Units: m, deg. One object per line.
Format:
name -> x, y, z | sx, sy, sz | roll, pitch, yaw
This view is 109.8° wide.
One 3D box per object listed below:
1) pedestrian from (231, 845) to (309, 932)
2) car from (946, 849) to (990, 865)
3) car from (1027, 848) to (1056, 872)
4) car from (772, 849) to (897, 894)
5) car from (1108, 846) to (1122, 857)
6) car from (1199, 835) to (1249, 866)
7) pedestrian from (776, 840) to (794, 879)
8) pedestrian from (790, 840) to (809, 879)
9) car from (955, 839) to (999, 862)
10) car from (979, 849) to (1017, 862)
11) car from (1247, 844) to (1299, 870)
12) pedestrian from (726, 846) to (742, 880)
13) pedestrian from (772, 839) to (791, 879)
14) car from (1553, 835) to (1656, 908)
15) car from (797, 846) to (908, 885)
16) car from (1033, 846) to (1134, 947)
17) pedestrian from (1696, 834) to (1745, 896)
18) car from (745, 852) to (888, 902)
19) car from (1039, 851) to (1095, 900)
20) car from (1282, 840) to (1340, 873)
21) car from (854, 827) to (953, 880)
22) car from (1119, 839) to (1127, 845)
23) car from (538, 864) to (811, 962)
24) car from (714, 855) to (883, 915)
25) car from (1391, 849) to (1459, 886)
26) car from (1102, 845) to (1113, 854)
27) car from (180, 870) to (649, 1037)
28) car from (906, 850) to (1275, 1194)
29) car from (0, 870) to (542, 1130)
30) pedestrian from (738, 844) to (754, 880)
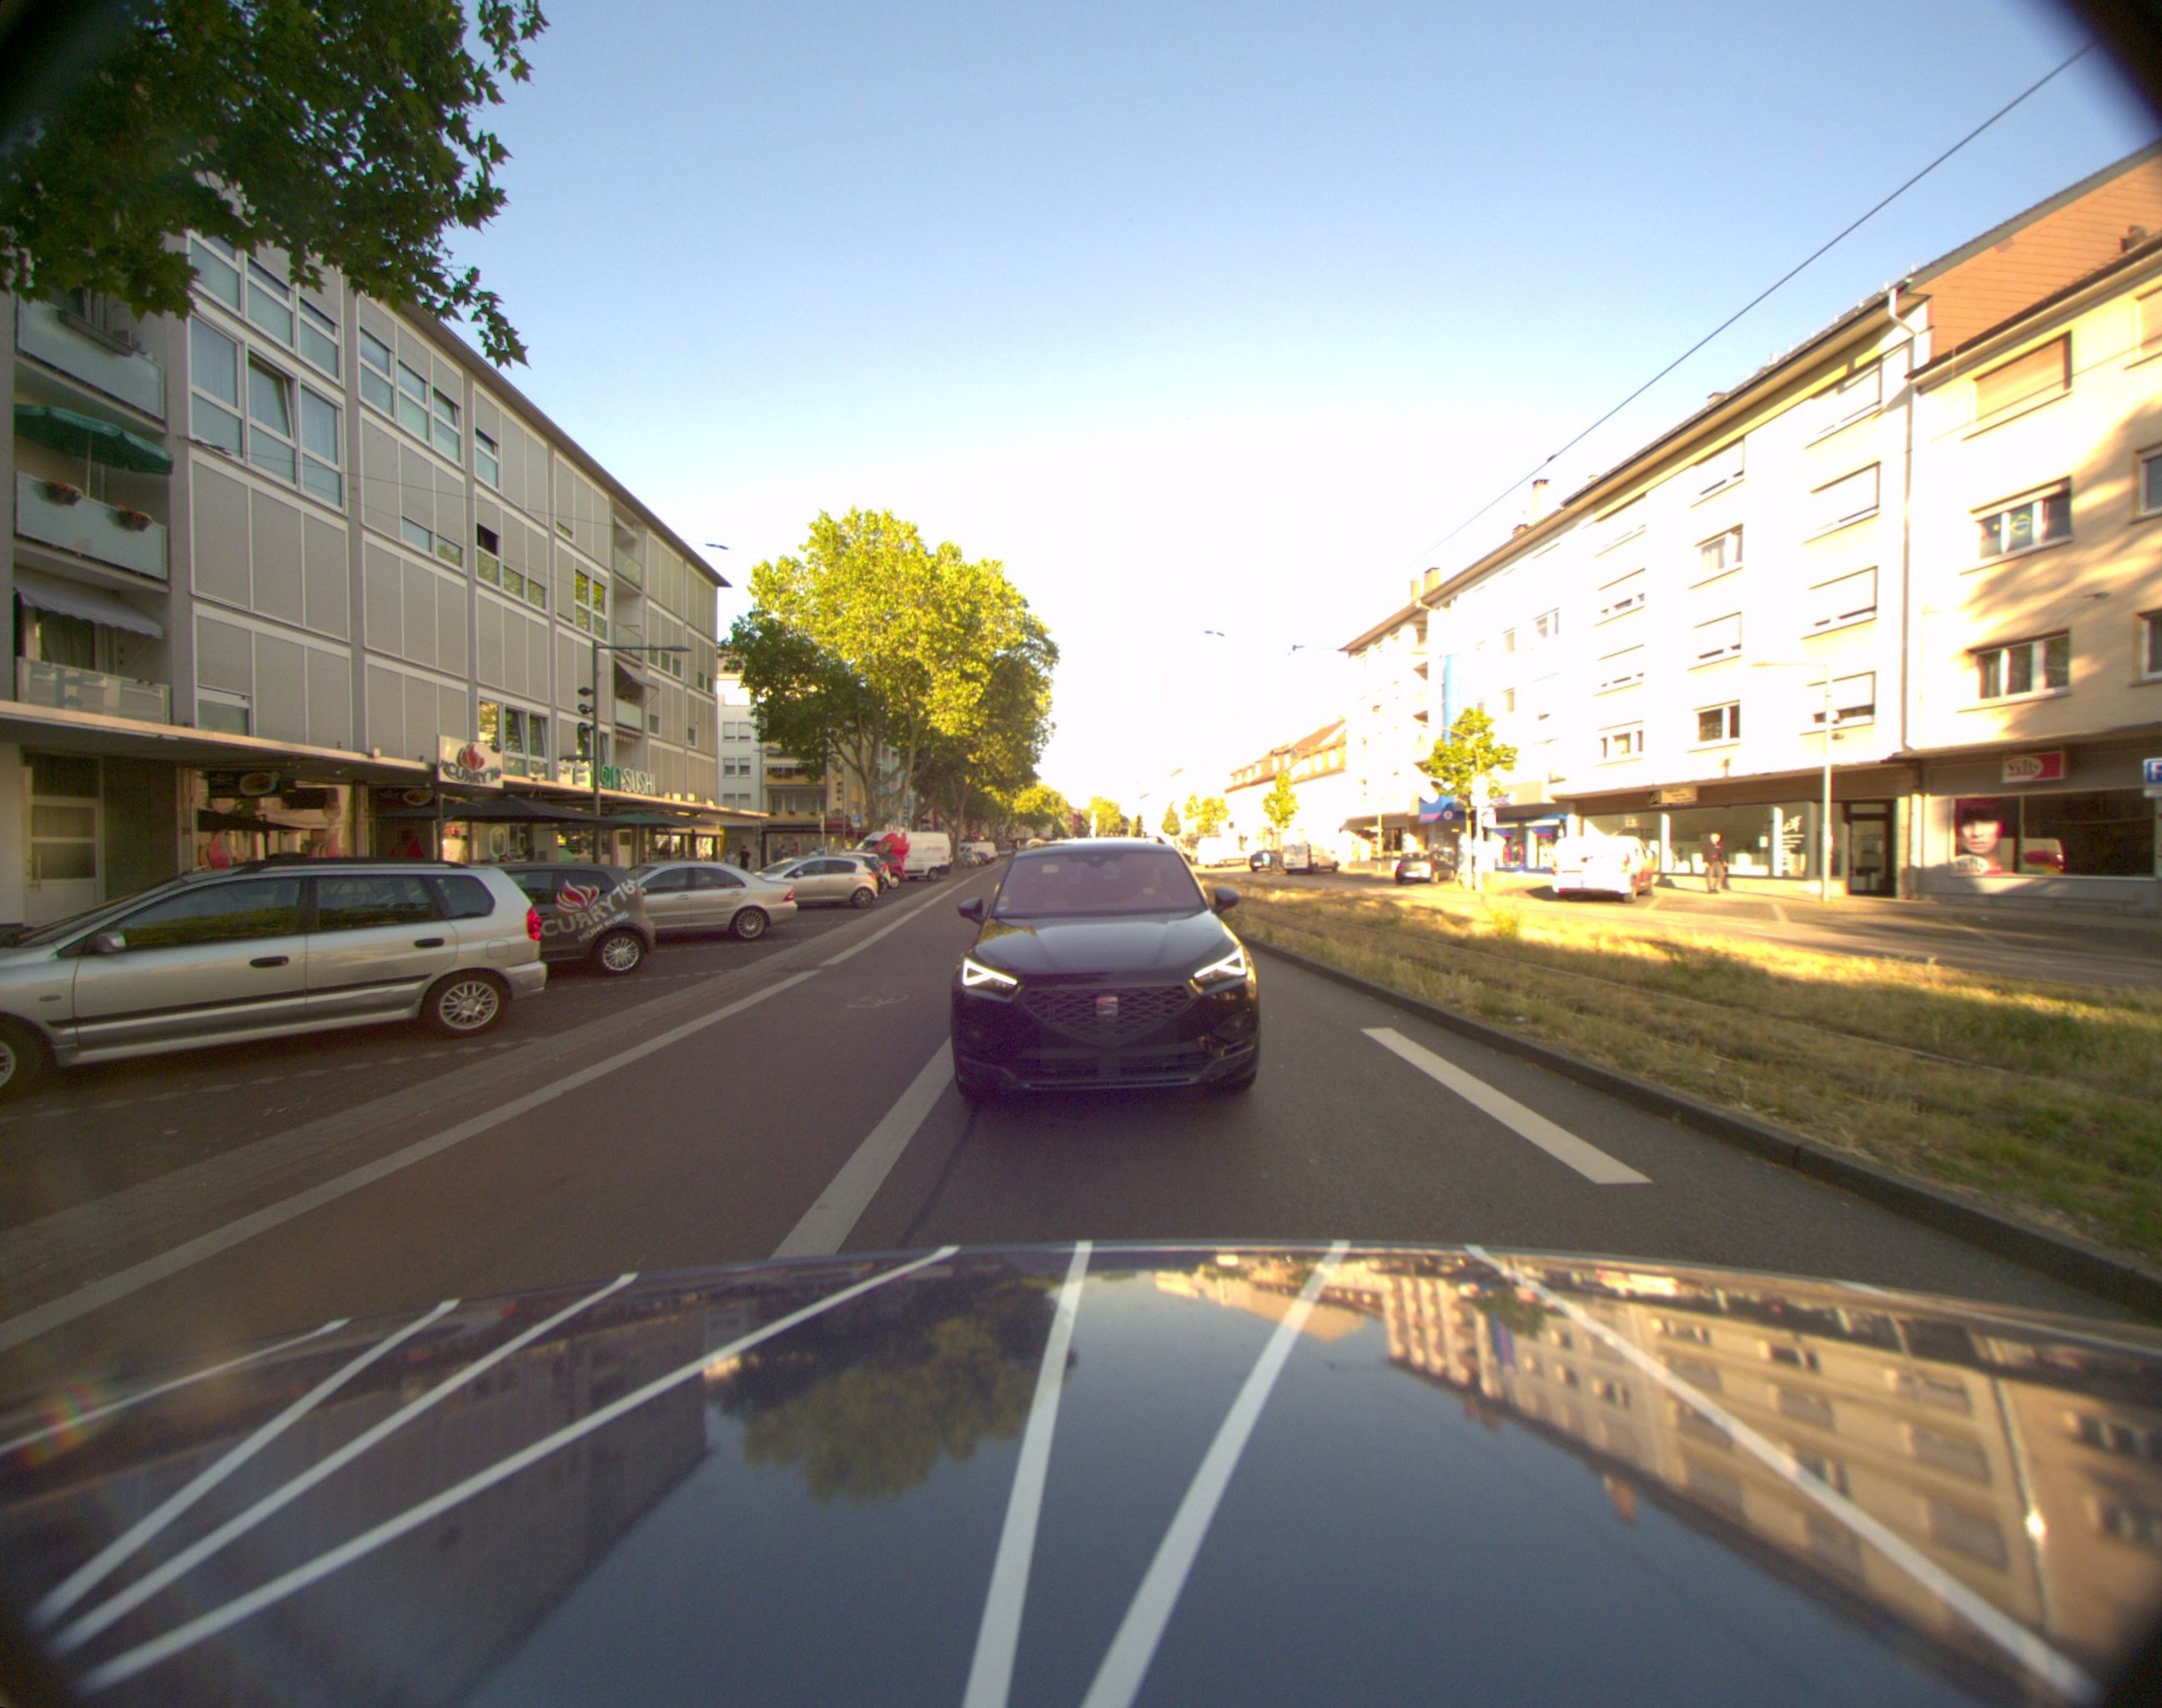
pedestrian -> -15.096, 0.626, 14.159 | 0.583, 1.573, 0.771 | 0, 1, 2
car -> -10.785, 0.277, 72.808 | 1.778, 1.396, 3.943 | 1, 1, 44
car -> -2.631, 0.375, 51.331 | 1.729, 1.443, 4.227 | -2, 1, -1
car -> -8.822, 0.638, 27.271 | 3.948, 1.421, 1.672 | 2, 2, -32
car -> 5.096, -0.348, 114.730 | 1.846, 1.571, 4.449 | 0, 1, -2
car -> 12.948, -0.362, 68.568 | 1.922, 2.599, 6.601 | -1, 1, 34
pedestrian -> -15.273, 0.275, 39.223 | 0.748, 1.964, 0.575 | 0, 1, -4
pedestrian -> -14.491, 0.269, 39.131 | 0.748, 2.002, 0.764 | 0, 1, -4
car -> -11.628, -0.417, 84.983 | 1.973, 2.454, 4.605 | 1, 1, 44
car -> -9.034, 0.160, 82.736 | 1.778, 1.326, 3.943 | 1, 1, 44
car -> 13.822, 0.189, 54.689 | 3.922, 1.704, 1.853 | -2, 1, -45
pedestrian -> -16.418, 0.417, 35.974 | 0.537, 1.630, 0.478 | 0, 1, -4
pedestrian -> -14.842, 0.242, 37.681 | 0.748, 2.002, 0.559 | 0, 1, -4
car -> 15.622, 0.449, 22.581 | 1.853, 1.888, 4.007 | -1, 2, 44
car -> -9.174, 0.486, 30.548 | 3.948, 1.421, 1.672 | 1, 2, -32
car -> 0.022, 0.700, 14.903 | 1.646, 1.646, 3.999 | -2, 1, -1
pedestrian -> 19.384, 0.329, 23.049 | 0.757, 1.817, 0.917 | -1, 1, 5
car -> -8.355, 0.720, 24.111 | 3.949, 1.420, 1.672 | 1, 1, -34
car -> -0.463, 0.668, 26.188 | 1.729, 1.467, 3.999 | -2, 1, -1
car -> 14.553, 0.109, 47.839 | 1.853, 1.927, 4.513 | -1, 1, 40
car -> -8.776, 0.004, 37.821 | 4.606, 2.479, 1.672 | 0, 0, -44
car -> 13.168, -3.721, 238.700 | 2.497, 1.871, 5.275 | 0, 1, 4
car -> -7.034, 0.919, 13.468 | 1.592, 1.393, 3.950 | 2, 1, 41
car -> -7.537, 0.785, 20.510 | 3.950, 1.420, 1.555 | 1, 1, -45
car -> 15.433, 0.561, 33.980 | 1.731, 1.489, 4.008 | -1, 1, 40
car -> 5.530, -0.904, 158.198 | 1.999, 1.783, 3.998 | 0, 1, -4
car -> -7.602, 0.959, 9.031 | 1.672, 1.420, 3.950 | 2, 1, 38
car -> 0.080, 0.837, 5.808 | 1.785, 1.639, 3.999 | -2, 1, 1
car -> -6.892, 0.950, 5.985 | 1.672, 1.533, 3.993 | 2, 1, 38
pedestrian -> -15.861, 0.380, 36.022 | 0.545, 1.710, 0.457 | 0, 1, -4
